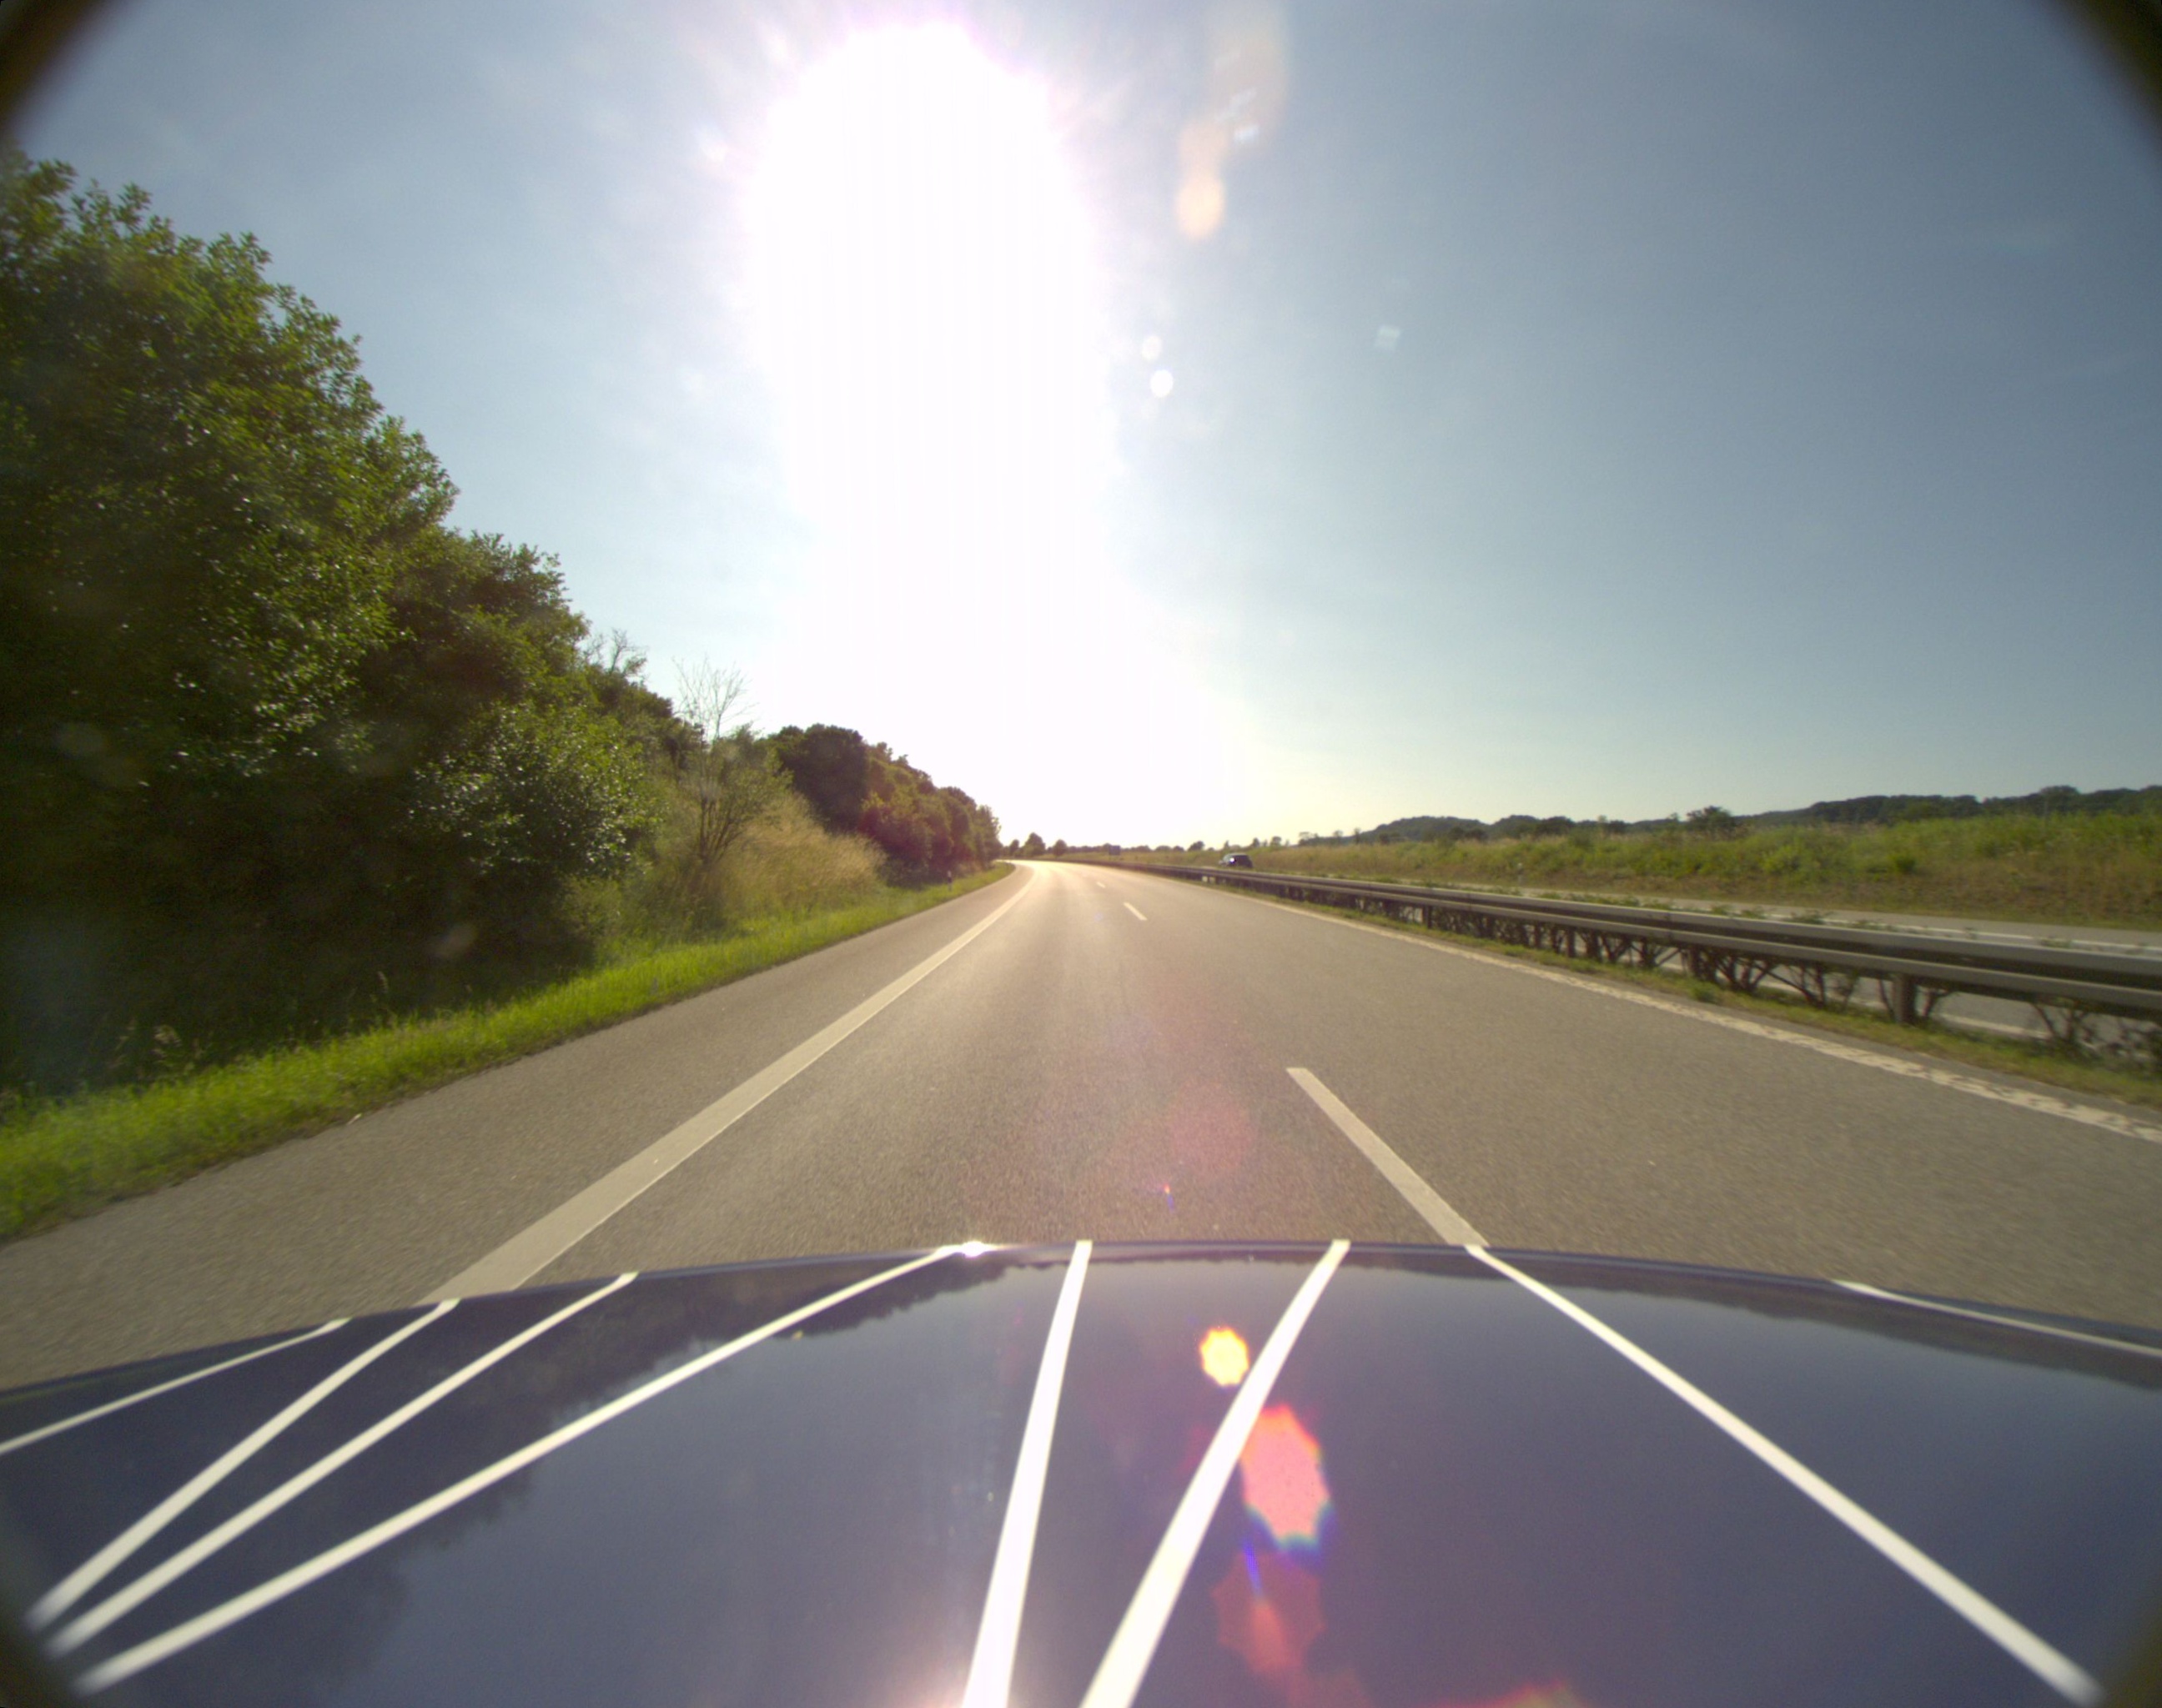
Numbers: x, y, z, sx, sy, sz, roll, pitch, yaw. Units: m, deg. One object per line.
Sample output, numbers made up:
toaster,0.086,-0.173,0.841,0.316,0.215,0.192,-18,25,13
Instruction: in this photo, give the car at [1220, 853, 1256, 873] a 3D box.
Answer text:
car,12.761,0.755,62.026,1.836,1.543,4.465,-1,0,-3
